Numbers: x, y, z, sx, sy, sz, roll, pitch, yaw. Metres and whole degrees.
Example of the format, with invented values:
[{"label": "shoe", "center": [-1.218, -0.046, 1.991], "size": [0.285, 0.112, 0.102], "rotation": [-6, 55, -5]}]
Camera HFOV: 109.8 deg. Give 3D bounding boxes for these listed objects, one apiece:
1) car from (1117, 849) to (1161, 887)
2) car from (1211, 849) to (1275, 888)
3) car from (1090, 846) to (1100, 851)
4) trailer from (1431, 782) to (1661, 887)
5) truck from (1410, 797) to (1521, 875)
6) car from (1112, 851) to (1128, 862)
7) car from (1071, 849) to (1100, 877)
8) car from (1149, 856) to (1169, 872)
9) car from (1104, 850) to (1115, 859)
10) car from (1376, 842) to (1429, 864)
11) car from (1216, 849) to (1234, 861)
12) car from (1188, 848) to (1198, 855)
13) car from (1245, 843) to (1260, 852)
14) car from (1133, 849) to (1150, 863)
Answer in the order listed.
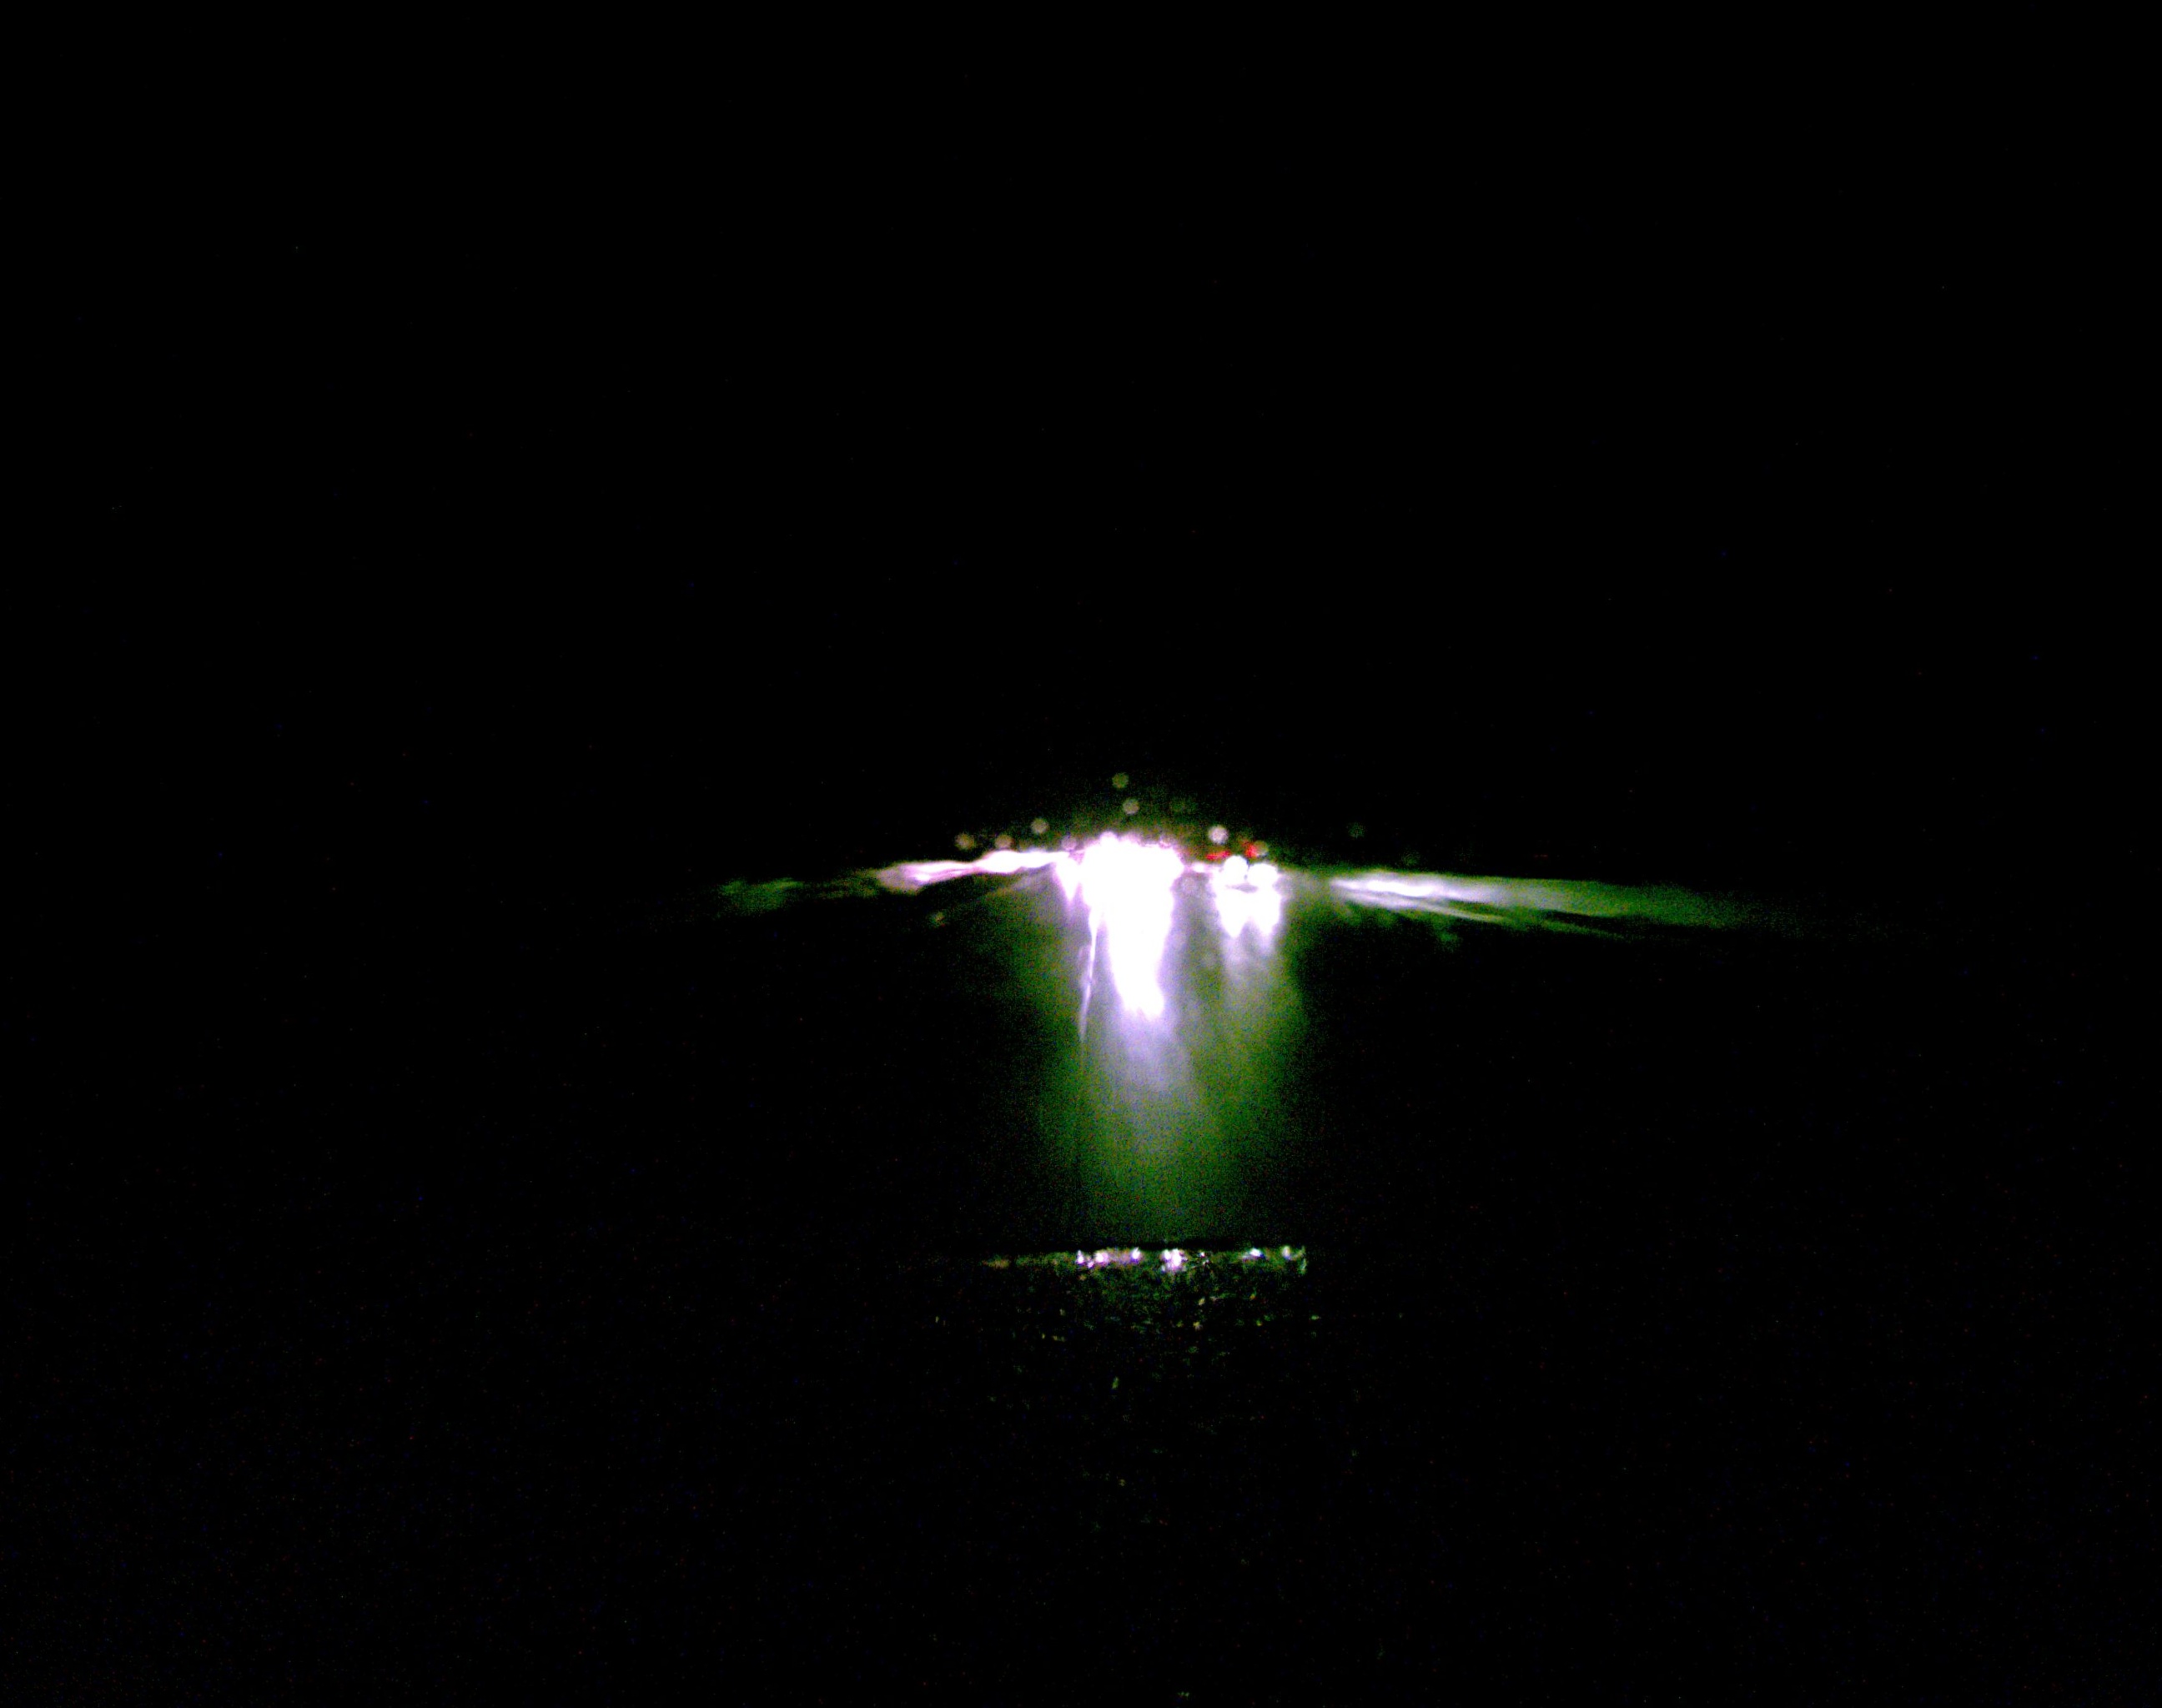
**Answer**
[{"label": "car", "center": [2.871, 0.636, 36.887], "size": [1.997, 1.667, 4.001], "rotation": [0, 1, 6]}, {"label": "car", "center": [7.074, 0.597, 33.529], "size": [2.309, 1.600, 3.872], "rotation": [0, 1, 5]}, {"label": "car", "center": [3.027, -1.196, 164.443], "size": [1.998, 1.149, 4.000], "rotation": [0, 1, 1]}, {"label": "trailer", "center": [23.788, -0.974, 40.628], "size": [4.177, 4.597, 13.957], "rotation": [0, 1, 2]}, {"label": "truck", "center": [24.063, -1.093, 48.005], "size": [4.177, 4.598, 5.846], "rotation": [0, 1, 2]}, {"label": "car", "center": [4.366, 0.313, 84.986], "size": [1.693, 1.149, 3.420], "rotation": [0, 1, 2]}, {"label": "car", "center": [0.365, 0.665, 58.279], "size": [1.998, 2.002, 4.000], "rotation": [0, 1, 4]}, {"label": "car", "center": [8.498, 1.071, 83.129], "size": [1.998, 1.667, 4.000], "rotation": [0, 1, 3]}, {"label": "car", "center": [5.528, 0.049, 147.023], "size": [1.998, 1.745, 4.000], "rotation": [-1, 1, 3]}, {"label": "car", "center": [19.281, -0.094, 45.705], "size": [1.646, 1.281, 3.409], "rotation": [0, 1, -1]}, {"label": "car", "center": [21.278, 0.081, 112.734], "size": [1.838, 1.652, 3.999], "rotation": [-2, 1, 0]}, {"label": "car", "center": [28.266, -0.655, 191.573], "size": [1.965, 1.456, 3.999], "rotation": [-2, 1, 0]}, {"label": "car", "center": [30.442, -1.187, 135.040], "size": [1.712, 1.456, 3.999], "rotation": [-2, 1, 1]}, {"label": "car", "center": [8.138, 0.238, 102.902], "size": [1.998, 1.745, 3.999], "rotation": [-2, 1, 1]}]
